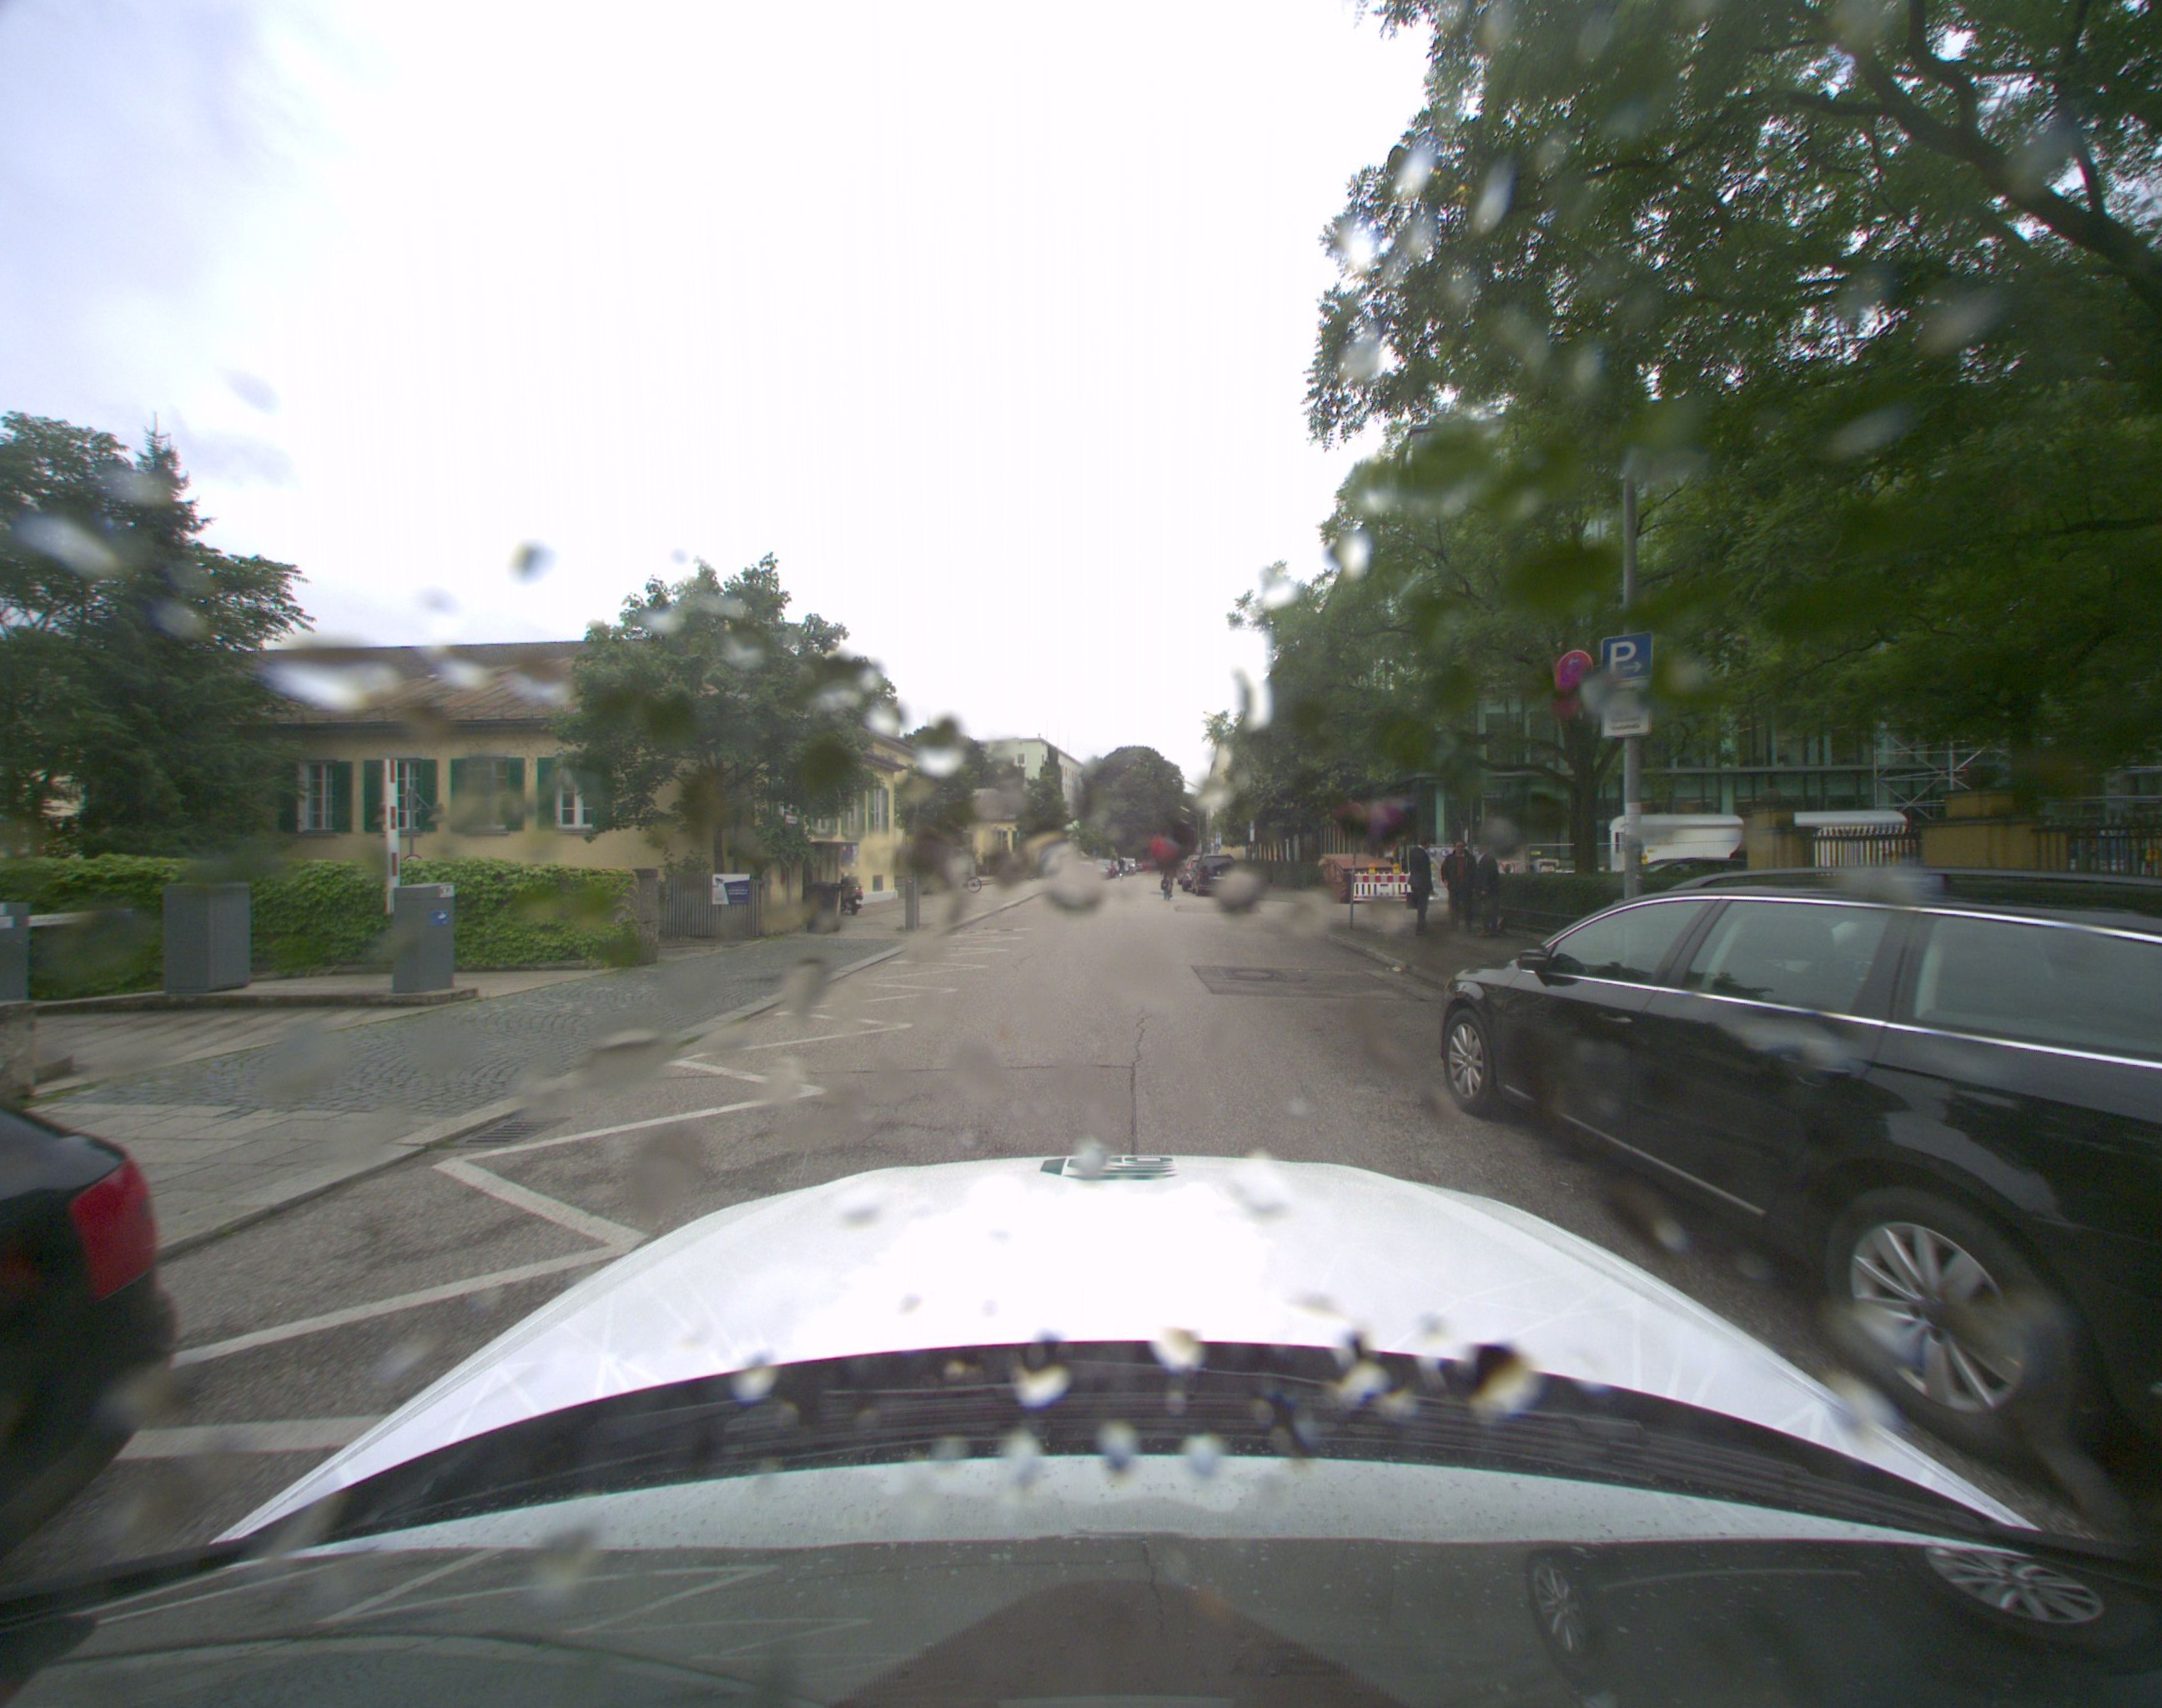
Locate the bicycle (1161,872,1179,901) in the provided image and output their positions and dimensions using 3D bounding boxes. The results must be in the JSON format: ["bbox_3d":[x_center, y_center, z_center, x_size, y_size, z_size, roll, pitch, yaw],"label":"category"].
[{"bbox_3d":[3.283,1.192,30.209,0.618,1.004,2.143,-1,-2,6],"label":"bicycle"}]

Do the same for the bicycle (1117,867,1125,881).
[{"bbox_3d":[3.027,1.472,61.562,0.619,1.004,2.141,-1,0,2],"label":"bicycle"}]

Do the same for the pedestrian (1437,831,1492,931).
[{"bbox_3d":[7.639,0.527,16.212,0.735,1.907,1.062,-2,-1,38],"label":"pedestrian"}]

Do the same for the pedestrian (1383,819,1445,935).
[{"bbox_3d":[6.372,0.433,15.620,0.739,2.135,1.056,-1,-1,2],"label":"pedestrian"}]

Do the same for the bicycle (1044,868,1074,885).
[{"bbox_3d":[-1.374,1.386,51.156,0.615,1.004,2.153,2,0,36],"label":"bicycle"}]

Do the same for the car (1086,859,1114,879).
[{"bbox_3d":[1.635,1.220,68.154,1.983,1.648,4.663,0,0,6],"label":"car"}]

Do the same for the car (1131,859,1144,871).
[{"bbox_3d":[8.463,1.614,122.214,1.801,1.683,4.006,-1,0,5],"label":"car"}]

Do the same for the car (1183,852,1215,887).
[{"bbox_3d":[6.813,0.853,47.400,1.740,1.943,4.235,-1,0,7],"label":"car"}]

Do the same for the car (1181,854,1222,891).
[{"bbox_3d":[6.036,0.898,41.218,1.853,1.794,4.517,-1,0,6],"label":"car"}]

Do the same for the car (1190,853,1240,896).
[{"bbox_3d":[5.930,0.865,36.389,1.753,1.823,4.142,0,0,3],"label":"car"}]

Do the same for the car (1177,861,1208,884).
[{"bbox_3d":[7.206,1.182,52.921,1.854,1.440,4.261,0,0,5],"label":"car"}]

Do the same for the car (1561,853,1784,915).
[{"bbox_3d":[14.847,0.747,20.668,4.182,1.486,1.873,-1,-1,7],"label":"car"}]

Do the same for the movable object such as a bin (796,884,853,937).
[{"bbox_3d":[-5.483,1.203,17.472,0.932,1.064,0.840,0,0,0],"label":"movable object such as a bin"}]

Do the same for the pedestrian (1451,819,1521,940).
[{"bbox_3d":[7.442,0.451,15.007,0.739,2.135,1.056,-1,-1,2],"label":"pedestrian"}]

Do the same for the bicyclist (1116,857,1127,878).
[{"bbox_3d":[3.063,0.992,61.640,0.740,1.576,0.977,-1,0,2],"label":"bicyclist"}]

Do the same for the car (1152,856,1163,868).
[{"bbox_3d":[14.969,1.566,159.682,1.984,2.099,4.006,2,0,5],"label":"car"}]

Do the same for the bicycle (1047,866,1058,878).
[{"bbox_3d":[-2.371,1.494,67.468,0.618,1.004,1.622,0,-2,9],"label":"bicycle"}]

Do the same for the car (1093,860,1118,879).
[{"bbox_3d":[2.232,1.395,73.387,1.984,1.603,4.004,0,-1,4],"label":"car"}]

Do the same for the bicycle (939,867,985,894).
[{"bbox_3d":[-5.314,1.181,36.421,1.921,1.099,0.616,2,-1,5],"label":"bicycle"}]

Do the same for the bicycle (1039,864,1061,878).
[{"bbox_3d":[-2.358,1.297,62.187,1.623,1.004,0.618,0,-2,-29],"label":"bicycle"}]

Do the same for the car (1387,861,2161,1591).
[{"bbox_3d":[3.166,0.817,3.623,1.765,1.490,4.973,2,0,1],"label":"car"}]

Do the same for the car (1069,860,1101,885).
[{"bbox_3d":[0.285,1.252,55.602,1.725,1.581,3.794,2,0,6],"label":"car"}]

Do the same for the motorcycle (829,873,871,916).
[{"bbox_3d":[-6.390,1.092,22.489,0.561,1.101,1.819,1,-1,-33],"label":"motorcycle"}]

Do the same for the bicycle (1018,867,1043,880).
[{"bbox_3d":[-3.457,1.334,55.567,1.620,0.926,0.647,0,-2,-22],"label":"bicycle"}]

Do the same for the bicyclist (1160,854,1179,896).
[{"bbox_3d":[3.275,0.778,30.153,0.668,1.498,1.096,-1,-2,6],"label":"bicyclist"}]
